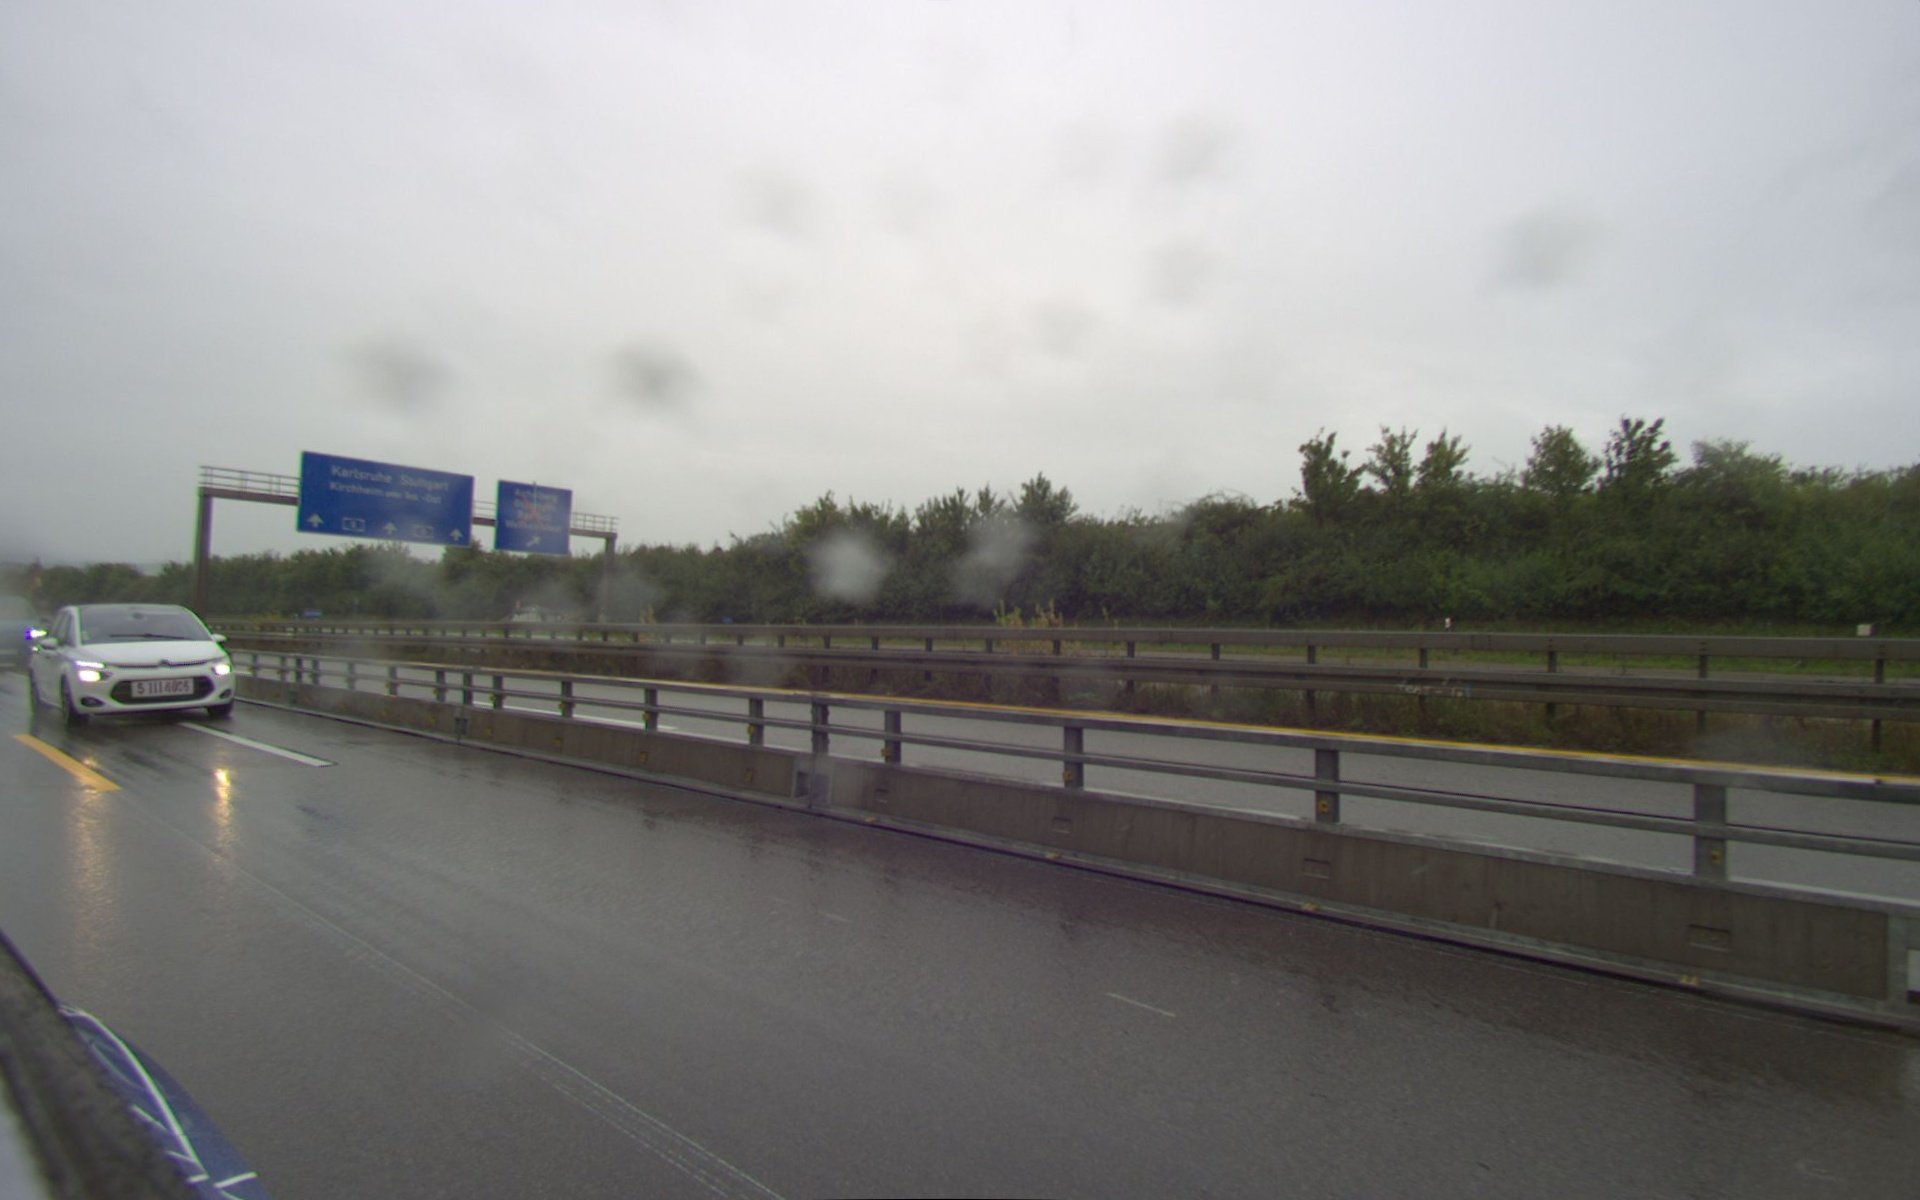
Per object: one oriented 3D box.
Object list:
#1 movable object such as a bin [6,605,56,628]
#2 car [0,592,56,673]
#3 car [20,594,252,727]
[{"bbox_3d":[-117.974,2.061,128.534,6.321,2.819,3.729,-1,0,38],"label":"movable object such as a bin"},{"bbox_3d":[-25.949,0.825,26.942,5.561,2.029,2.183,-1,0,41],"label":"car"},{"bbox_3d":[-11.824,0.808,14.424,4.308,1.608,1.952,-2,-2,42],"label":"car"}]
